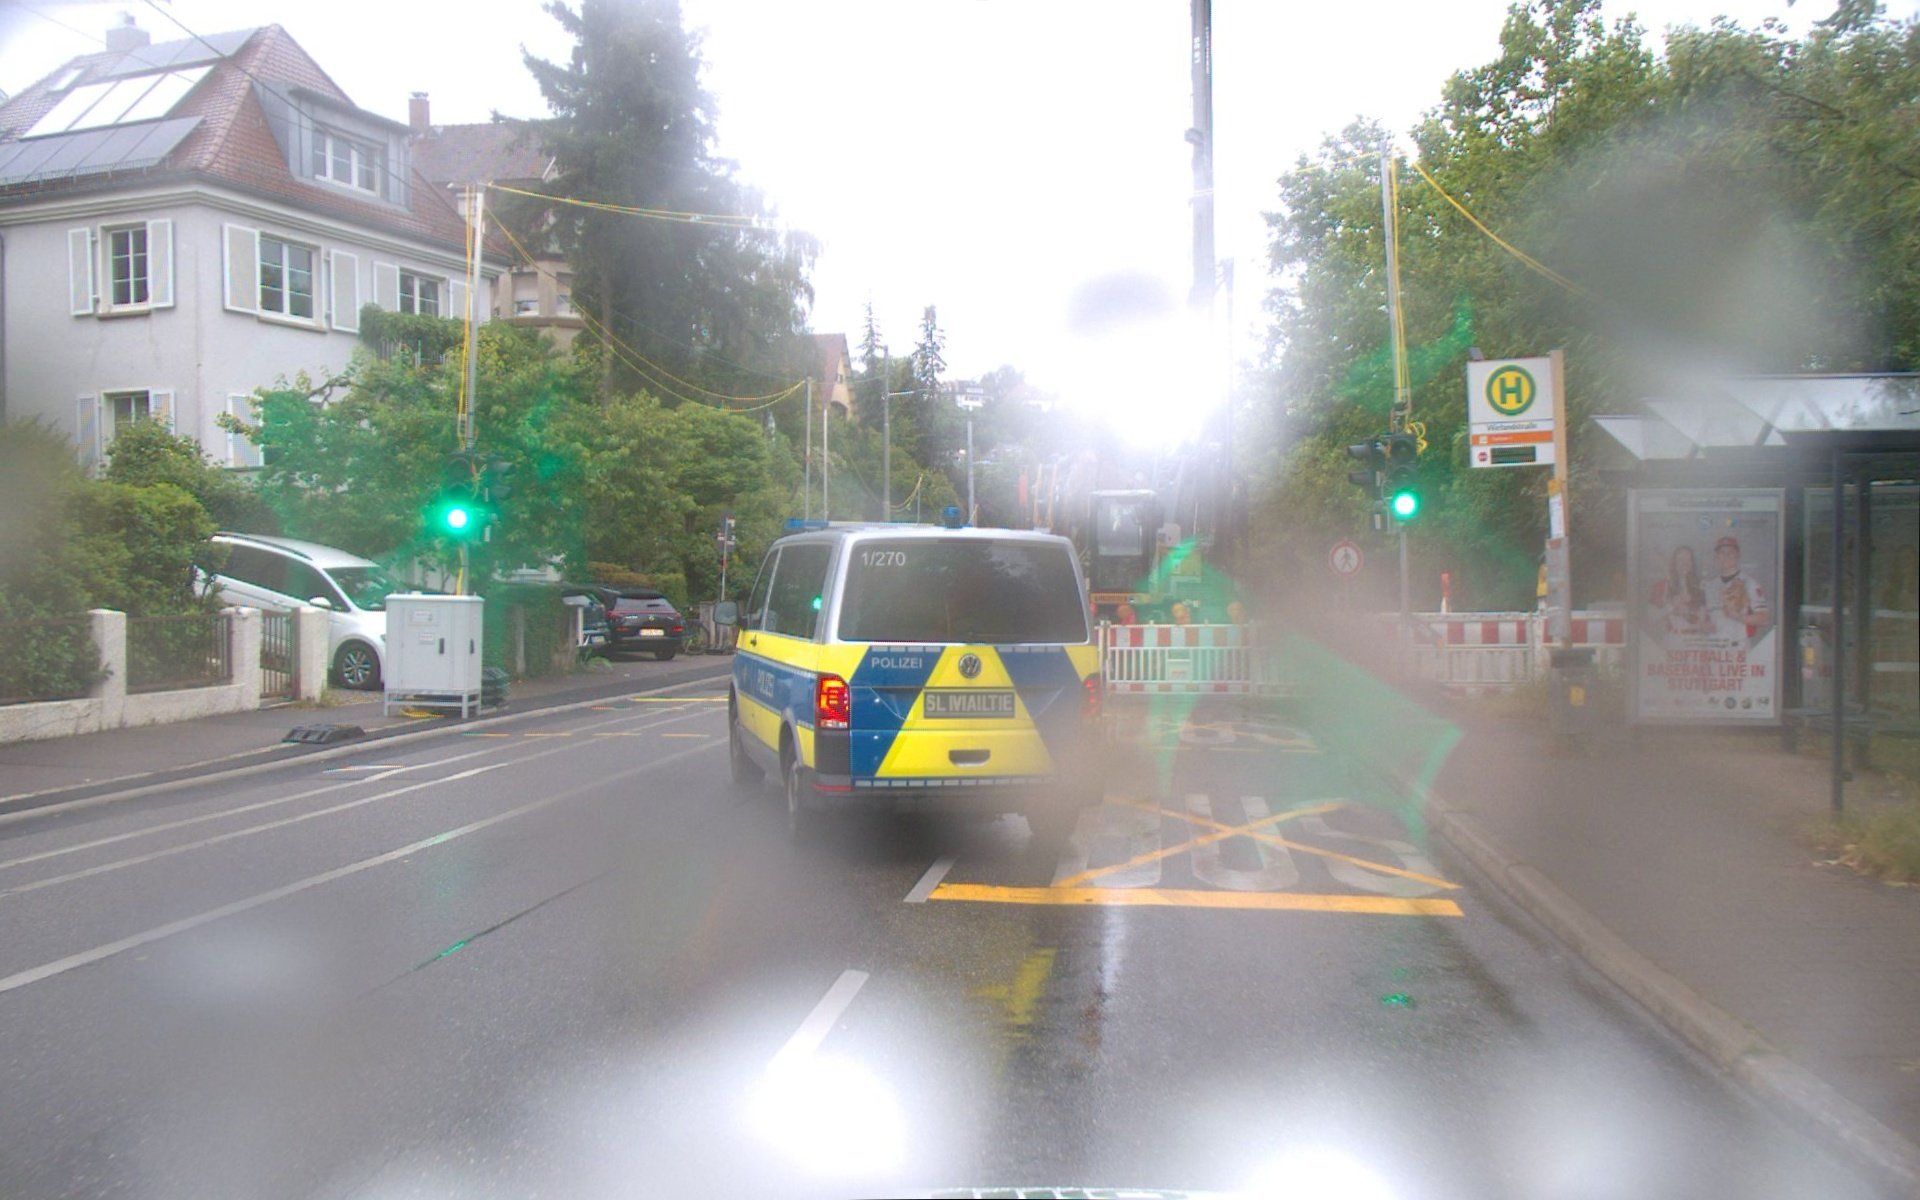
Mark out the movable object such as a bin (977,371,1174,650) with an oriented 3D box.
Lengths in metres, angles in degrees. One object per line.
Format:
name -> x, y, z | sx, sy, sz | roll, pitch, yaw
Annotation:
movable object such as a bin -> 2.062, -1.404, 27.858 | 2.817, 4.243, 4.491 | -1, 1, 10

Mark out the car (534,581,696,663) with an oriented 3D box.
car -> -7.044, 0.421, 33.537 | 1.766, 1.552, 3.950 | 1, 0, -36

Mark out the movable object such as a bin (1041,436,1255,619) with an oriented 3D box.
movable object such as a bin -> 5.931, -2.065, 51.122 | 3.619, 5.155, 7.139 | -2, -1, 34

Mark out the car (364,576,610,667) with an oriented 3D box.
car -> -8.686, 0.376, 30.458 | 3.902, 1.552, 1.942 | 1, -1, 16

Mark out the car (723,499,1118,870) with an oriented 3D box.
car -> -0.503, 0.491, 11.501 | 1.875, 2.046, 4.424 | 1, -1, -13

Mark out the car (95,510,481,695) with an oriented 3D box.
car -> -9.526, -0.013, 23.495 | 4.866, 1.642, 1.865 | 11, 4, 17
